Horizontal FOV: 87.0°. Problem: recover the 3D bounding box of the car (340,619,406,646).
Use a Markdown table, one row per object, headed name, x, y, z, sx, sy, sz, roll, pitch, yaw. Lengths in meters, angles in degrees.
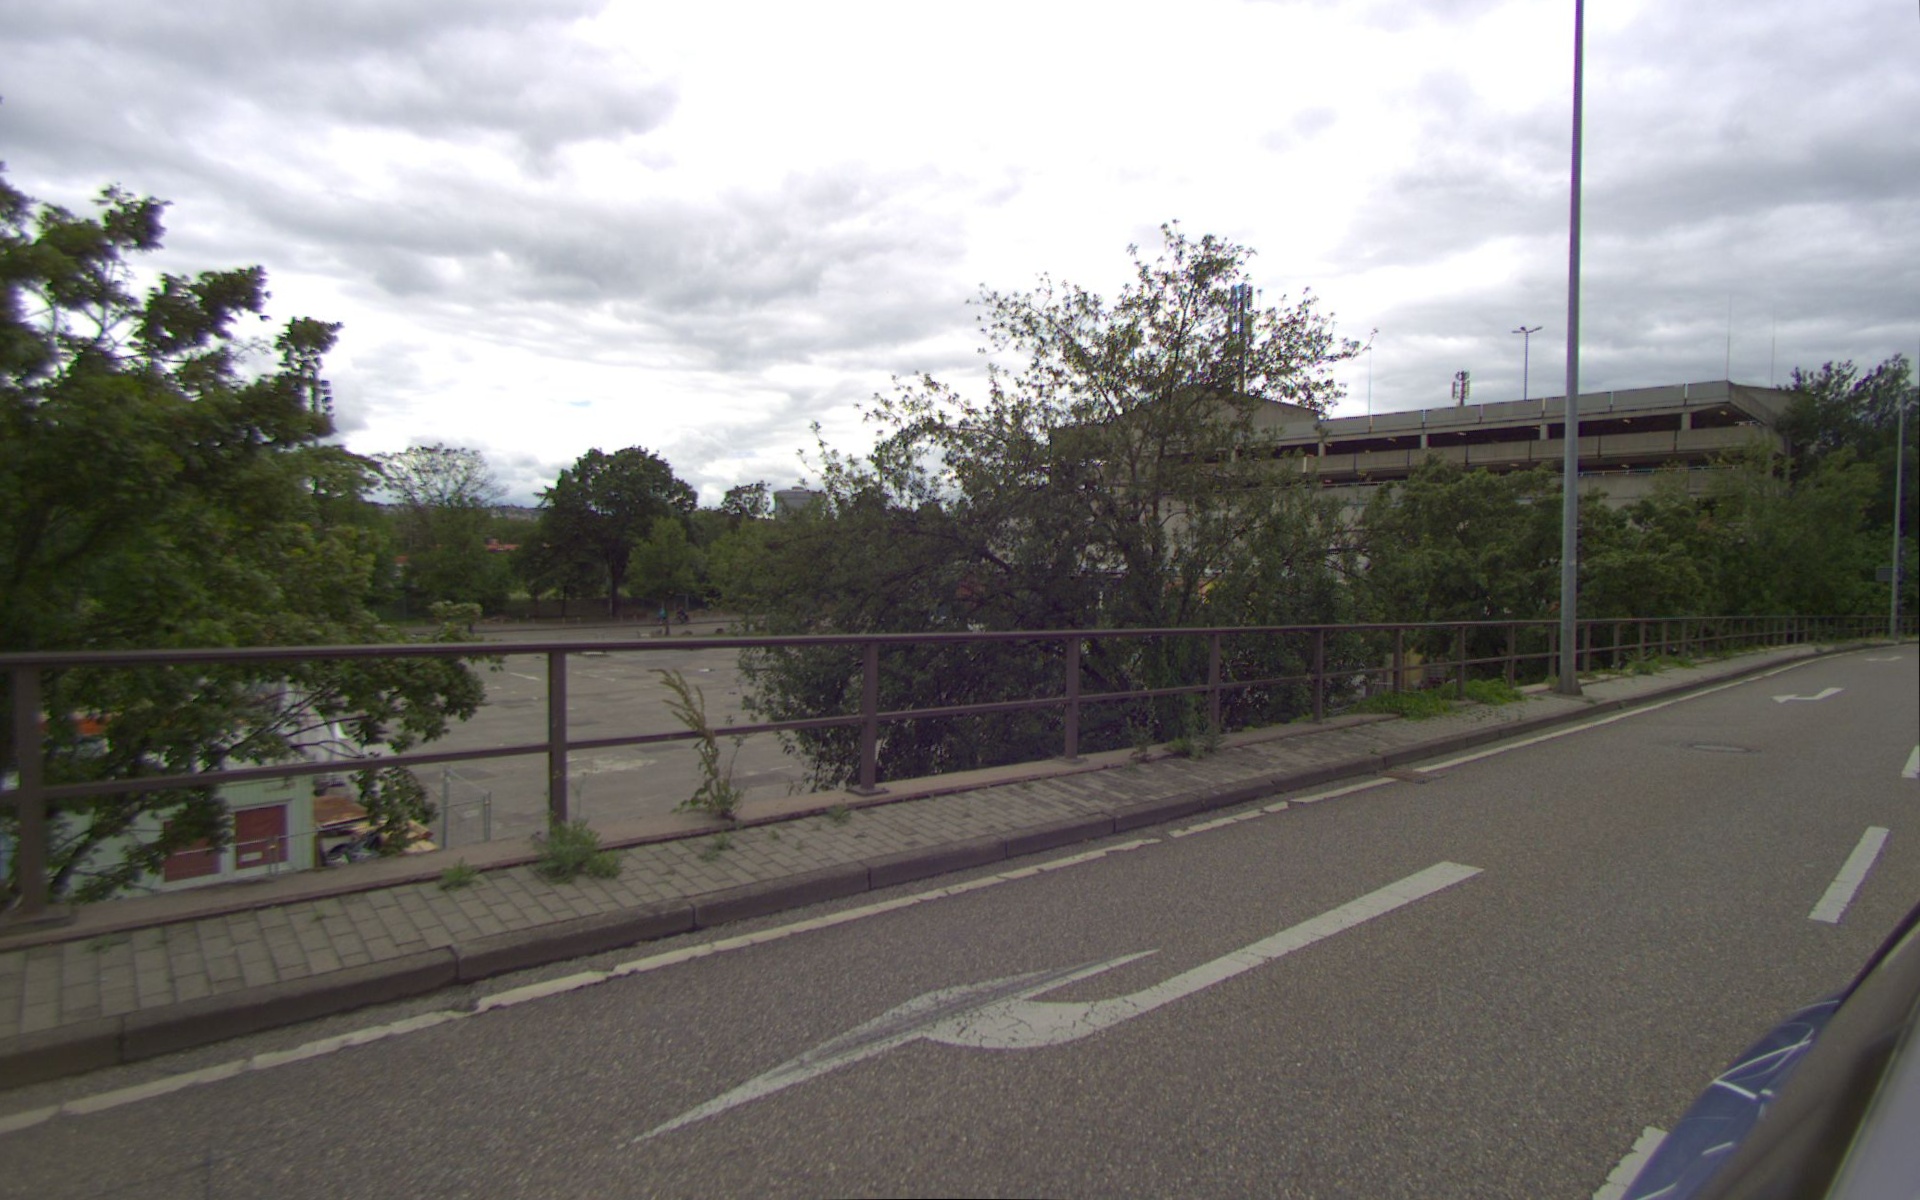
| name | x | y | z | sx | sy | sz | roll | pitch | yaw |
| --- | --- | --- | --- | --- | --- | --- | --- | --- | --- |
| car | -44.135 | 2.417 | 76.121 | 3.934 | 1.839 | 1.994 | -1 | -2 | -44 |
